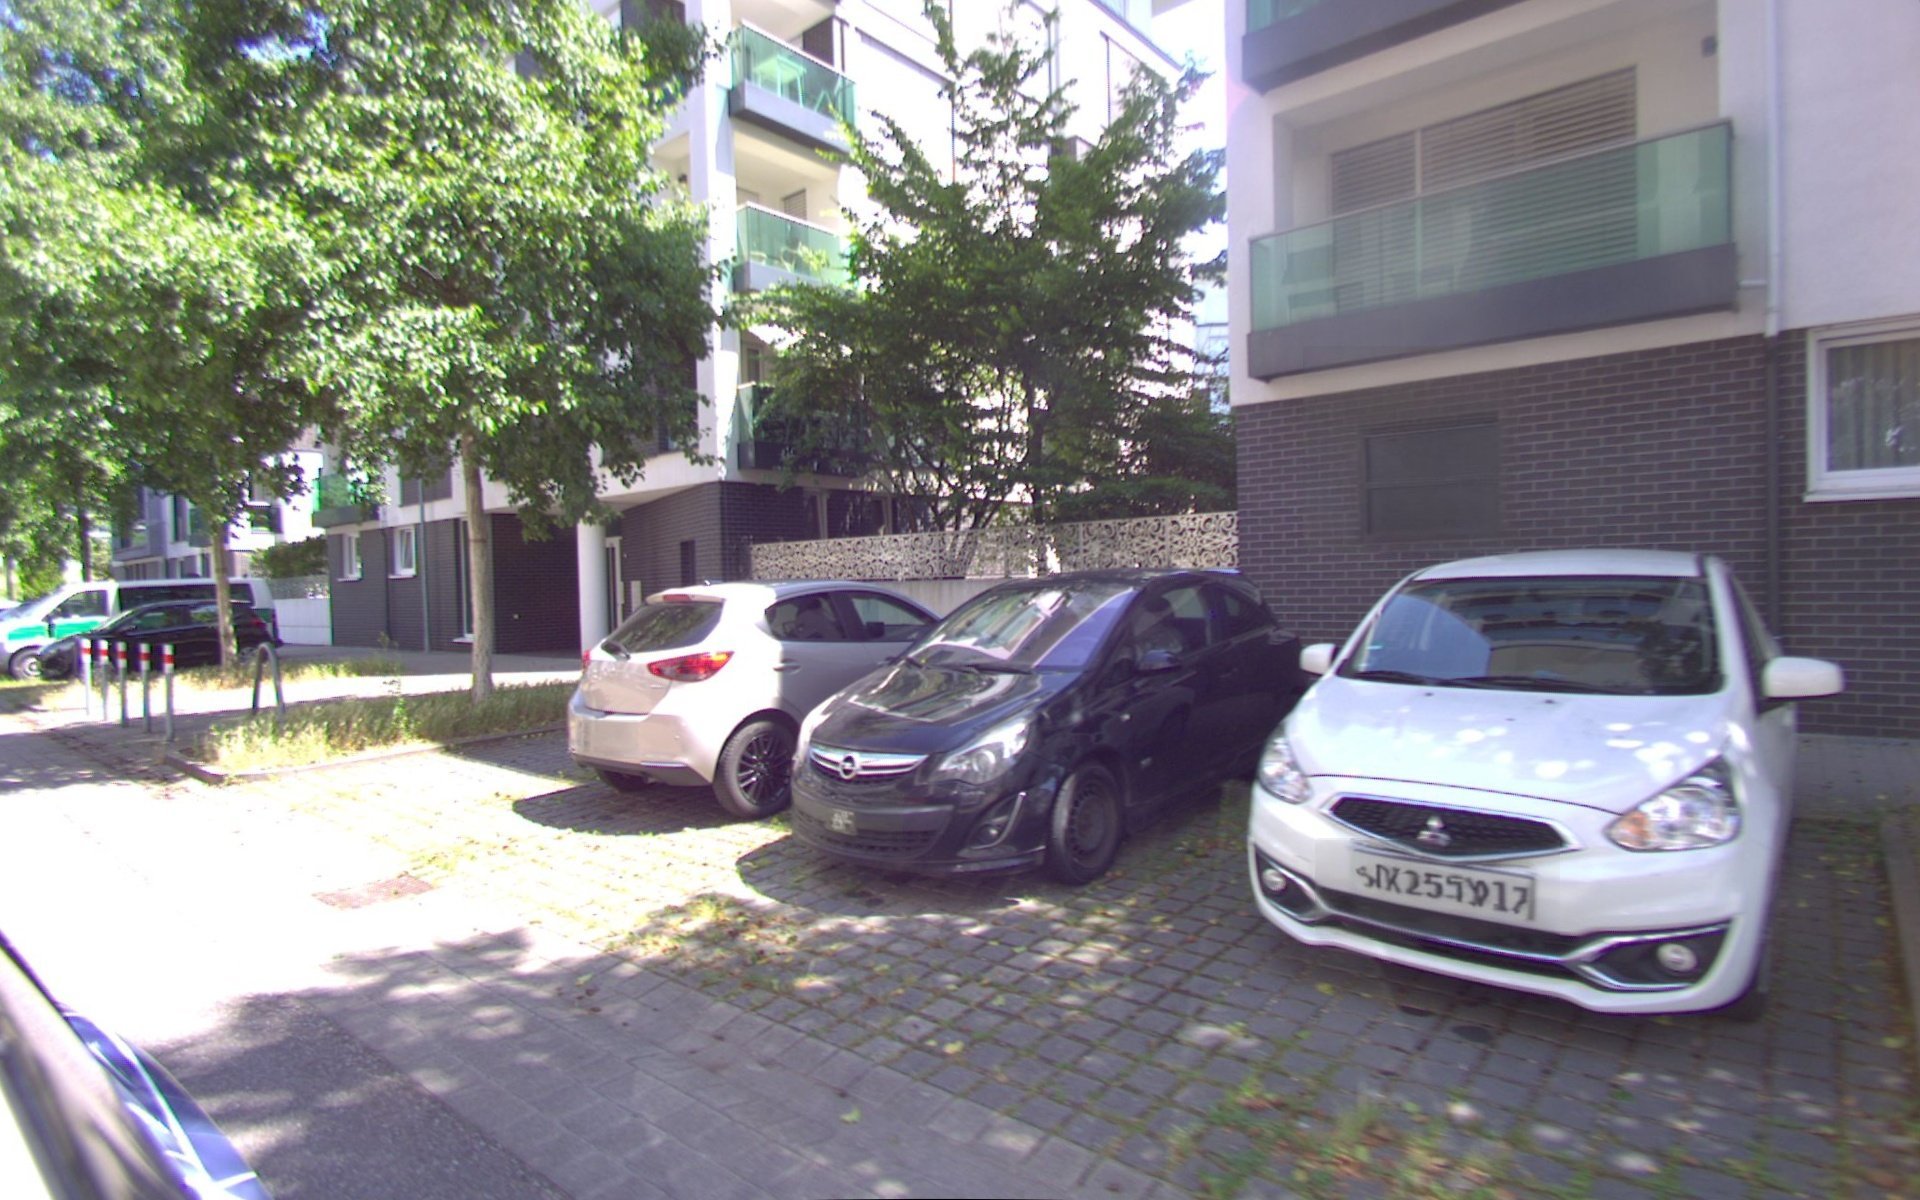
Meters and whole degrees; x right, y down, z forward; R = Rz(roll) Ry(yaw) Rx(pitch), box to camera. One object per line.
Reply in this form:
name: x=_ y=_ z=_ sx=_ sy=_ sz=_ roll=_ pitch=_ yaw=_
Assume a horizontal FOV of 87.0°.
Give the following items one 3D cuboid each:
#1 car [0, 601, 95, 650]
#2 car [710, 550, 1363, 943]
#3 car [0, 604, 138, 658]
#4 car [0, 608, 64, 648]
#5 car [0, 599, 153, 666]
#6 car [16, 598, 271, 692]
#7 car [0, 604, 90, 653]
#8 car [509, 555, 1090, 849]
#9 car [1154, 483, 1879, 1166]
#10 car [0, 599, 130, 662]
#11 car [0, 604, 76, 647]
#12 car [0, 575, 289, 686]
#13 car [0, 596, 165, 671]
car: x=-34.943 y=0.983 z=36.815 sx=2.039 sy=1.644 sz=4.981 roll=-1 pitch=1 yaw=38
car: x=0.811 y=0.512 z=6.198 sx=1.791 sy=1.487 sz=4.273 roll=-1 pitch=2 yaw=40
car: x=-29.231 y=0.993 z=31.960 sx=1.828 sy=1.467 sz=4.801 roll=-1 pitch=3 yaw=40
car: x=-38.923 y=1.169 z=39.933 sx=1.925 sy=1.496 sz=5.051 roll=0 pitch=2 yaw=38
car: x=-25.697 y=0.915 z=28.282 sx=1.962 sy=1.605 sz=4.519 roll=-1 pitch=3 yaw=35
car: x=-15.880 y=0.801 z=19.820 sx=1.676 sy=1.492 sz=3.588 roll=-1 pitch=2 yaw=39
car: x=-32.999 y=1.028 z=34.902 sx=1.819 sy=1.542 sz=4.212 roll=-1 pitch=2 yaw=37
car: x=-0.958 y=0.511 z=7.892 sx=1.923 sy=1.529 sz=4.210 roll=-1 pitch=3 yaw=40
car: x=2.709 y=0.445 z=4.481 sx=1.883 sy=1.603 sz=3.946 roll=-1 pitch=2 yaw=41
car: x=-27.510 y=0.897 z=30.212 sx=1.949 sy=1.641 sz=3.938 roll=-1 pitch=3 yaw=42
car: x=-36.840 y=1.051 z=38.308 sx=1.825 sy=1.459 sz=4.774 roll=0 pitch=4 yaw=38
car: x=-17.861 y=0.568 z=21.804 sx=2.187 sy=2.126 sz=5.285 roll=-1 pitch=1 yaw=42
car: x=-23.545 y=0.843 z=26.745 sx=1.850 sy=1.688 sz=3.643 roll=-1 pitch=2 yaw=40
